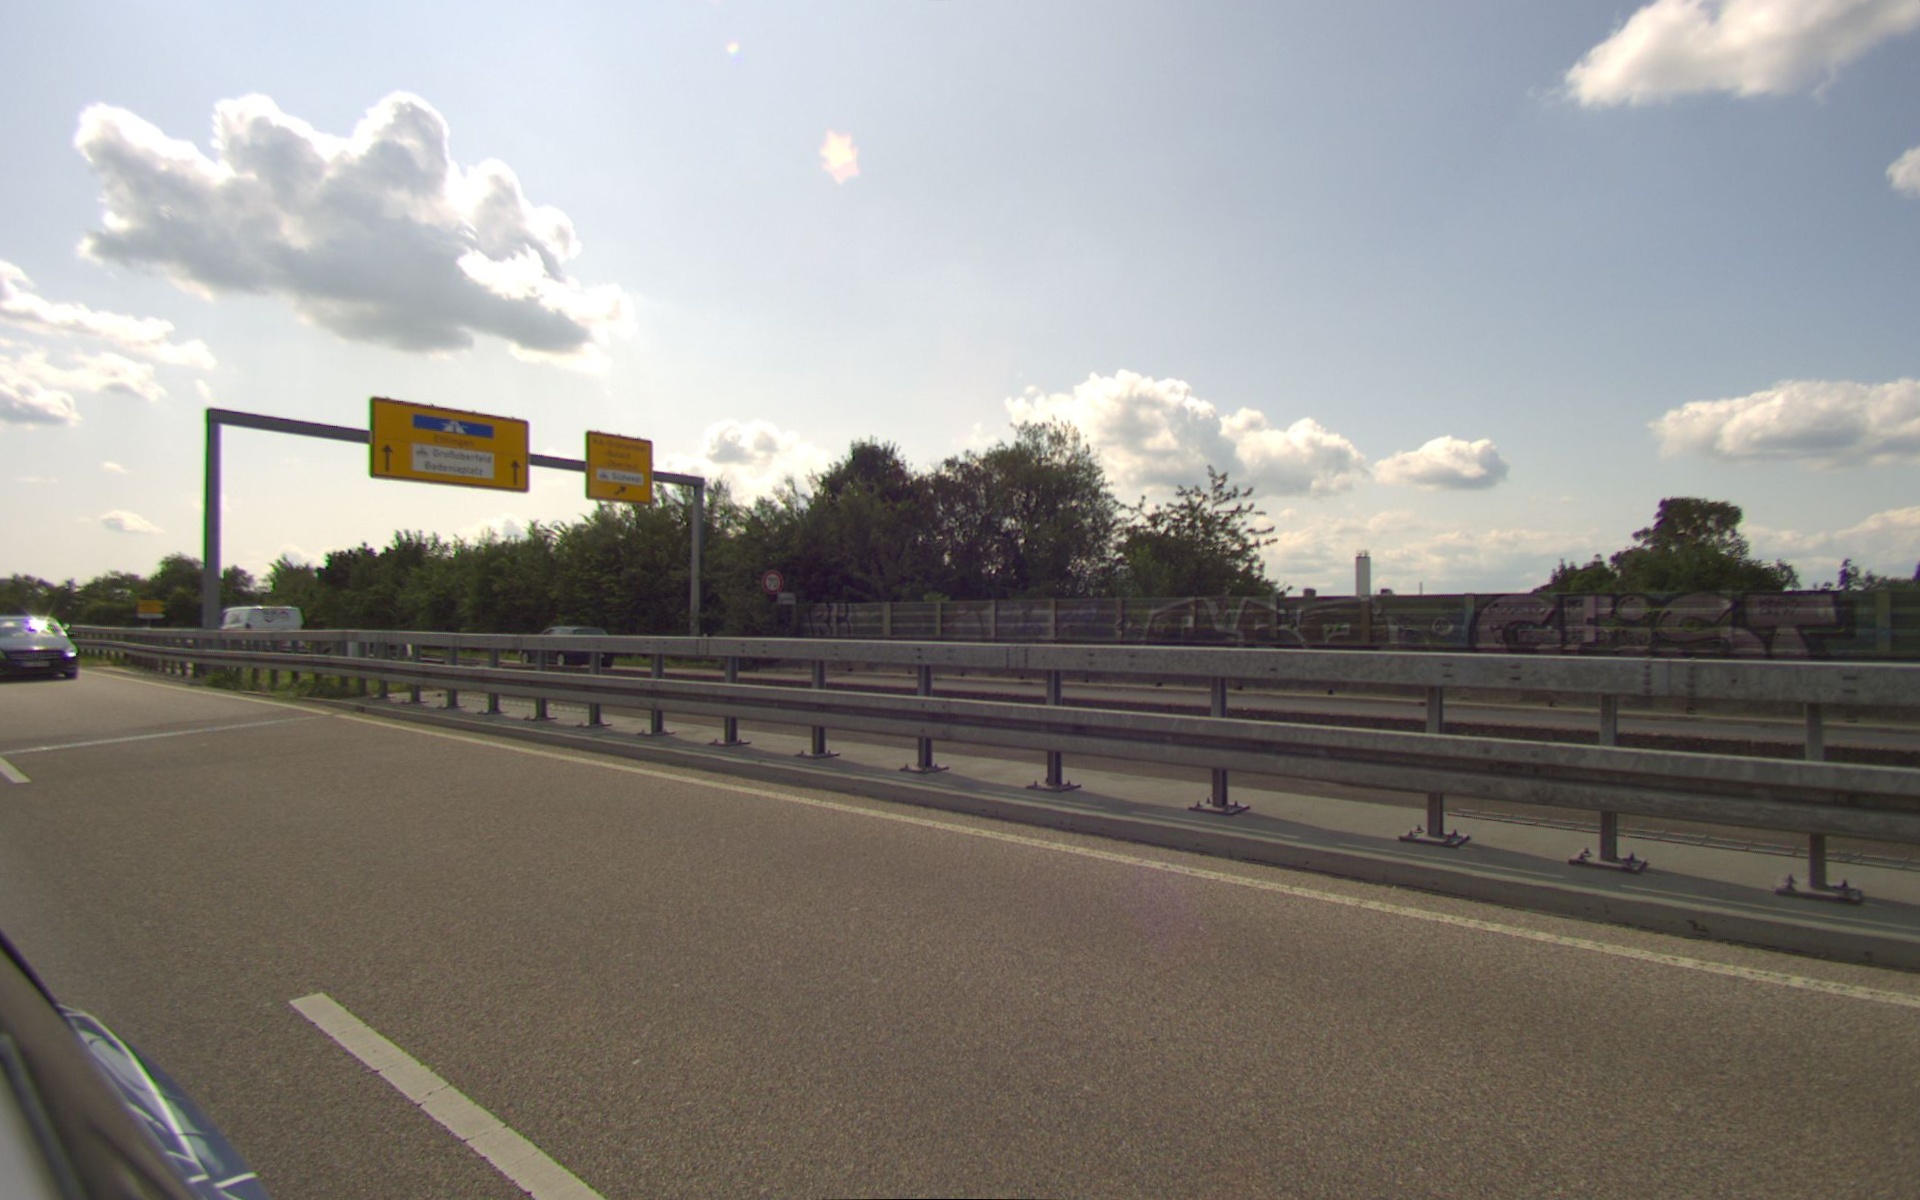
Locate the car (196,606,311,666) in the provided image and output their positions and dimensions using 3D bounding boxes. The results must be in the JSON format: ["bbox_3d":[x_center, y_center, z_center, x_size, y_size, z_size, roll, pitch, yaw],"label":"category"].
[{"bbox_3d":[-26.046,1.289,37.251,5.224,2.004,2.059,0,-3,40],"label":"car"}]

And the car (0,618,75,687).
[{"bbox_3d":[-23.437,1.238,25.093,4.591,1.539,1.693,-1,0,42],"label":"car"}]

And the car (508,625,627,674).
[{"bbox_3d":[-12.995,1.573,33.411,4.397,1.442,1.672,-1,0,39],"label":"car"}]
